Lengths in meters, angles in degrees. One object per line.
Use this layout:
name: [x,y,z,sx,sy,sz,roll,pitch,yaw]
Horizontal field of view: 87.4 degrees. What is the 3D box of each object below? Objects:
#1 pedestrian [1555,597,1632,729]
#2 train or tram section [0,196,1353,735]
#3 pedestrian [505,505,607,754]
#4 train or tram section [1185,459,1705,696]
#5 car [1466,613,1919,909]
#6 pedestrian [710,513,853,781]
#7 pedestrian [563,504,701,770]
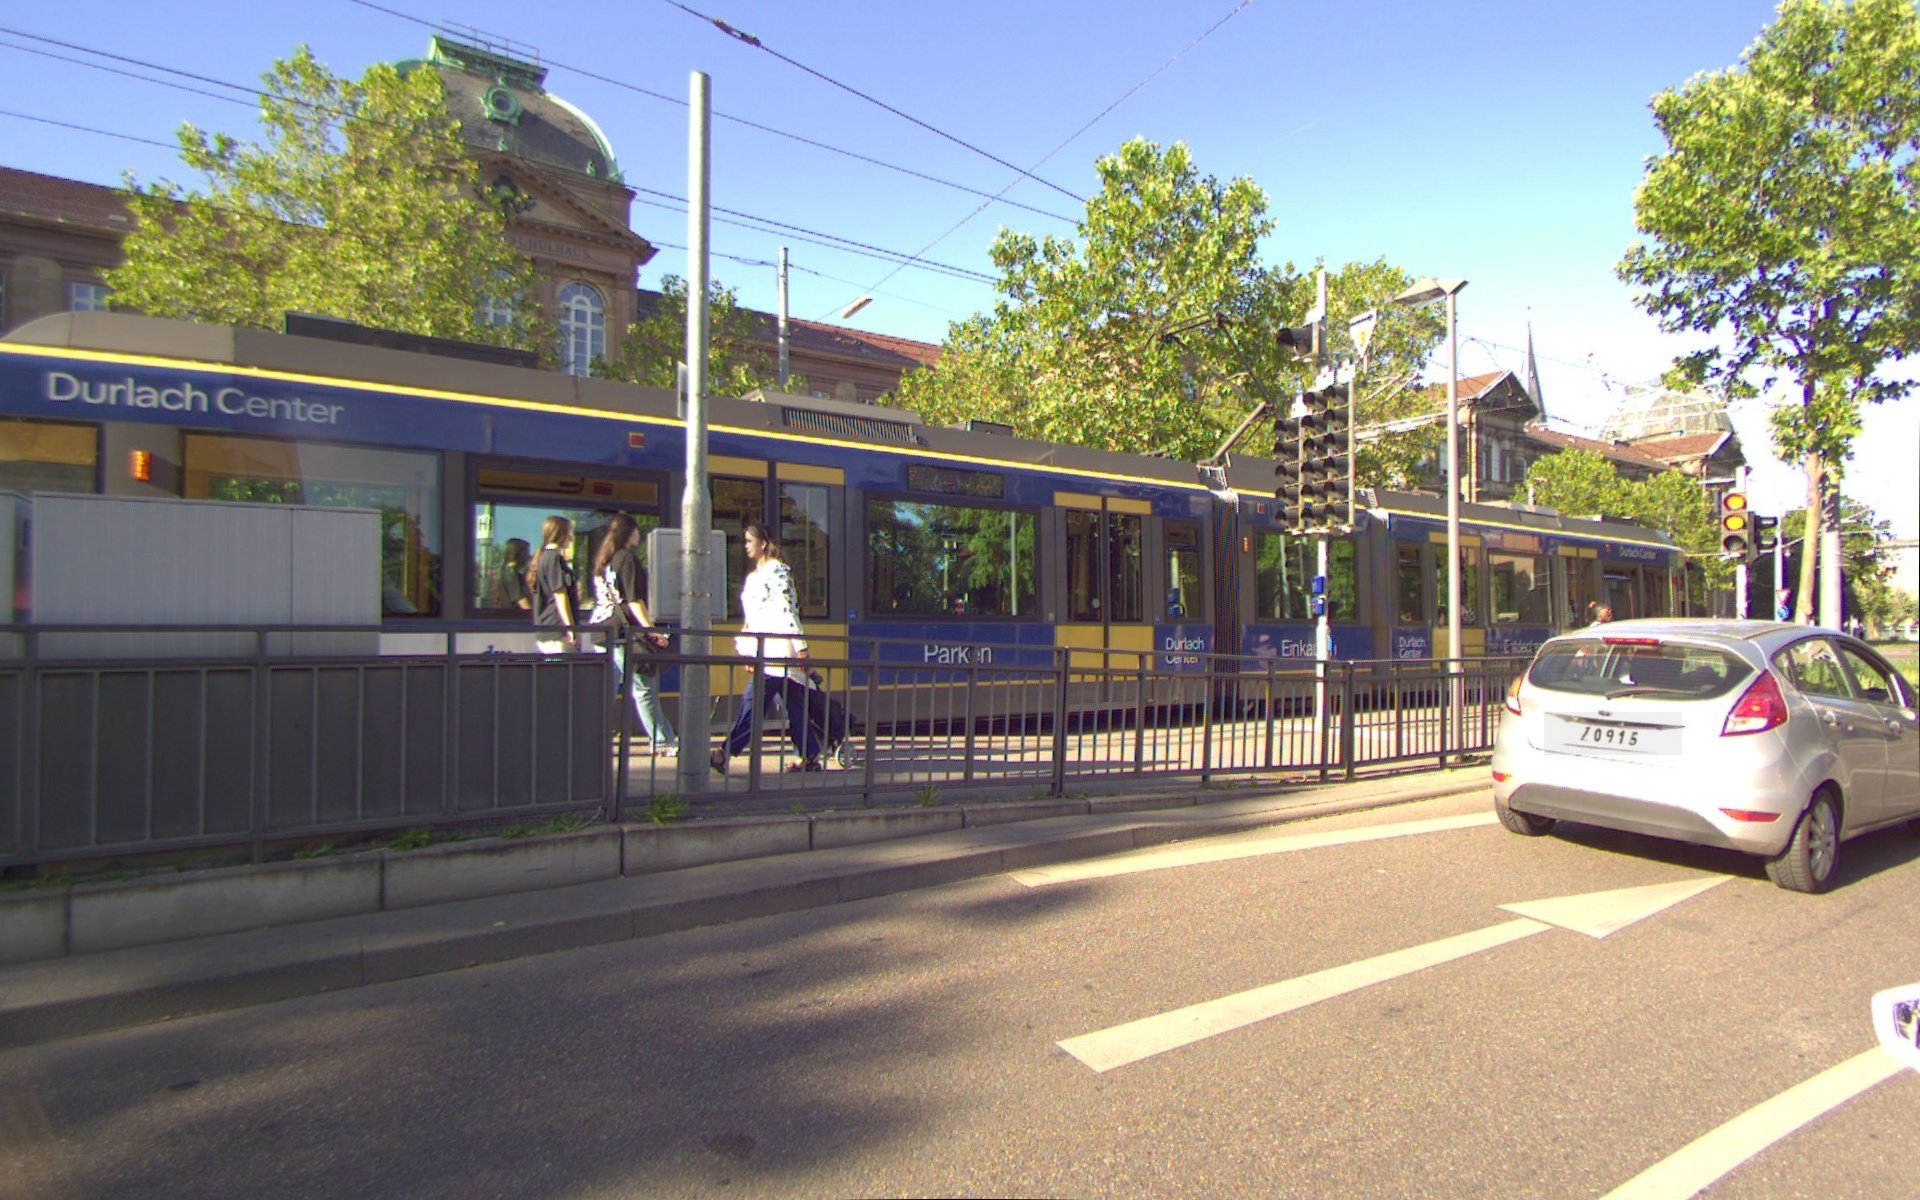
pedestrian: [7.834,0.764,12.428,0.641,1.577,0.626,1,-1,-38]
train or tram section: [-1.859,-0.627,10.717,15.732,3.303,2.896,3,0,-35]
pedestrian: [-2.970,0.214,7.381,0.541,1.724,0.604,1,-2,-37]
train or tram section: [9.826,-0.106,18.960,12.985,3.303,2.895,3,0,-36]
car: [5.148,0.846,6.606,3.592,1.428,1.651,2,0,-33]
pedestrian: [-1.175,0.311,6.603,0.635,1.640,0.635,4,-3,-37]
pedestrian: [-2.281,0.250,6.992,0.740,1.724,0.628,1,-2,-38]
